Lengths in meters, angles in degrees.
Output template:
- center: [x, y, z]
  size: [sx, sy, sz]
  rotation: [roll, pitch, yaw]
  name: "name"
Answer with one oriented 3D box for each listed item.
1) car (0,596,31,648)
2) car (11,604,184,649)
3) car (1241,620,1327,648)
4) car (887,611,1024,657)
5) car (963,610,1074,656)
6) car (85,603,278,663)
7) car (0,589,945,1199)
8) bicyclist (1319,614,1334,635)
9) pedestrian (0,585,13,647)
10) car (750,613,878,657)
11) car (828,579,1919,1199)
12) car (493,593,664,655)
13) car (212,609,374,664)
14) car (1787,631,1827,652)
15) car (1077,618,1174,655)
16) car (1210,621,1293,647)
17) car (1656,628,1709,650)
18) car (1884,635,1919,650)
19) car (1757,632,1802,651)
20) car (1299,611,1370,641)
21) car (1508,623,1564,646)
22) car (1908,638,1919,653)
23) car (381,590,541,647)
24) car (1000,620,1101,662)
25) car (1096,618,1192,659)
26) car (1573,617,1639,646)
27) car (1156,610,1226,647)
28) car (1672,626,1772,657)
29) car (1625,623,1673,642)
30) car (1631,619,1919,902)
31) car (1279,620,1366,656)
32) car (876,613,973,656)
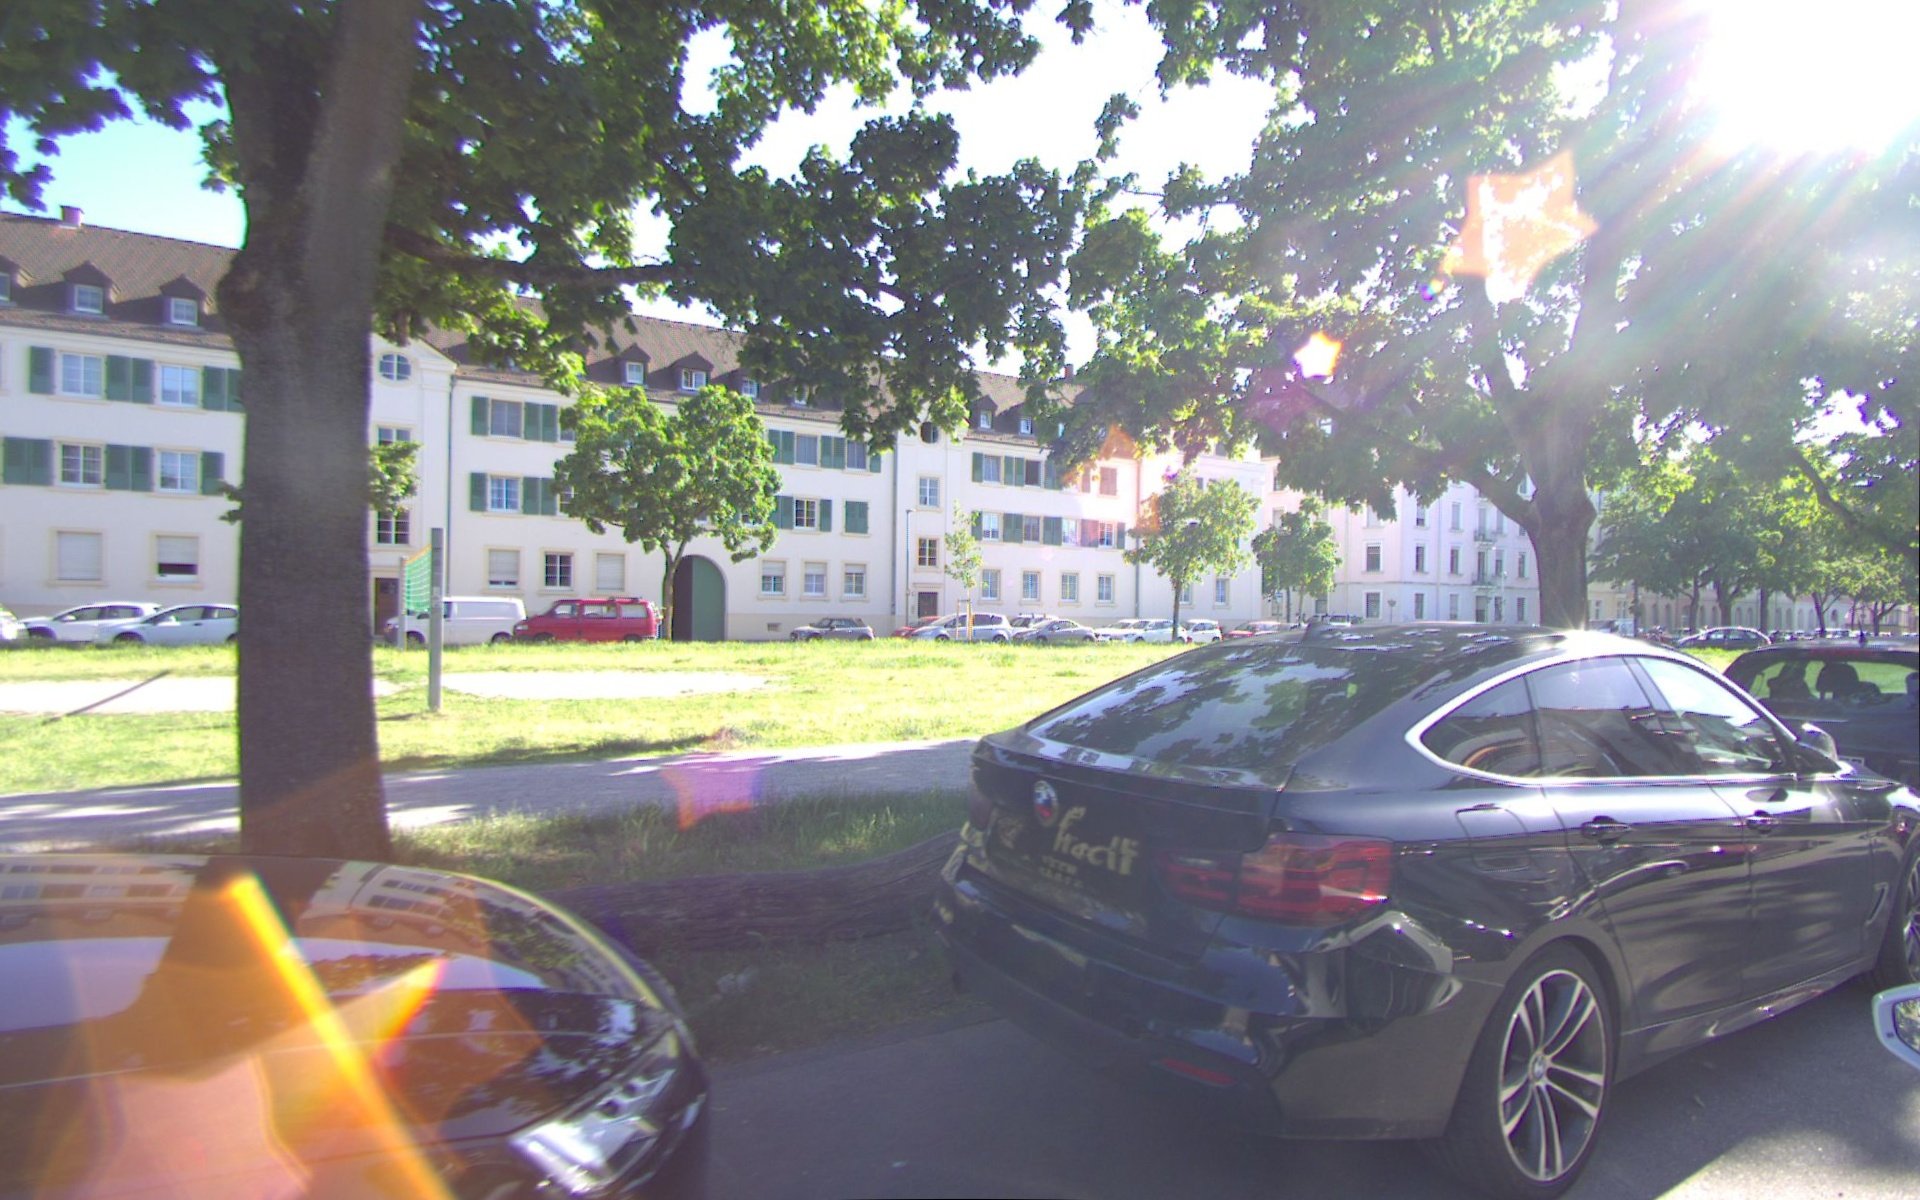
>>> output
- center: [-26.772, 0.535, 26.174]
  size: [3.475, 1.350, 1.641]
  rotation: [1, -1, -32]
  name: "car"
- center: [-27.613, 0.860, 32.335]
  size: [3.955, 1.374, 1.759]
  rotation: [1, -1, -32]
  name: "car"
- center: [18.487, 1.939, 57.231]
  size: [4.903, 1.504, 1.983]
  rotation: [2, -1, -32]
  name: "car"
- center: [-0.181, 1.448, 42.910]
  size: [5.388, 1.844, 2.439]
  rotation: [1, -1, -29]
  name: "car"
- center: [2.998, 1.689, 51.497]
  size: [5.201, 2.245, 2.516]
  rotation: [1, -1, -33]
  name: "car"
- center: [-22.344, 0.938, 29.065]
  size: [4.188, 1.604, 1.779]
  rotation: [1, -1, -32]
  name: "car"
- center: [-2.576, 0.694, 0.954]
  size: [4.915, 1.471, 1.825]
  rotation: [2, -1, -33]
  name: "car"
- center: [23.925, 1.589, 65.589]
  size: [0.777, 1.382, 0.529]
  rotation: [1, 0, -31]
  name: "bicyclist"
- center: [-31.476, 0.512, 32.383]
  size: [1.152, 1.989, 1.330]
  rotation: [1, -1, -36]
  name: "pedestrian"
- center: [-6.594, 1.573, 45.511]
  size: [5.194, 1.844, 2.439]
  rotation: [1, -1, -29]
  name: "car"
- center: [2.203, 0.806, 4.073]
  size: [5.103, 1.536, 1.982]
  rotation: [1, -2, -33]
  name: "car"
- center: [-13.218, 0.831, 34.899]
  size: [5.201, 2.011, 2.207]
  rotation: [1, -1, -33]
  name: "car"
- center: [-23.159, 1.269, 35.077]
  size: [4.595, 1.787, 1.982]
  rotation: [1, -1, -33]
  name: "car"
- center: [74.284, 3.640, 88.107]
  size: [4.038, 1.709, 1.622]
  rotation: [2, -1, -33]
  name: "car"
- center: [9.103, 1.972, 55.097]
  size: [5.100, 1.911, 2.143]
  rotation: [1, -1, -31]
  name: "car"
- center: [17.446, 2.043, 59.996]
  size: [4.903, 1.504, 1.983]
  rotation: [2, -1, -32]
  name: "car"
- center: [54.793, 2.957, 76.137]
  size: [4.648, 1.582, 1.684]
  rotation: [2, -1, -33]
  name: "car"
- center: [94.497, 4.238, 100.673]
  size: [3.730, 1.459, 1.837]
  rotation: [1, -1, -31]
  name: "car"
- center: [69.580, 3.508, 85.281]
  size: [4.480, 1.570, 1.746]
  rotation: [2, -1, -33]
  name: "car"
- center: [27.557, 1.911, 74.056]
  size: [2.118, 2.040, 4.534]
  rotation: [1, 0, -33]
  name: "car"
- center: [43.435, 2.599, 75.767]
  size: [4.407, 1.608, 1.981]
  rotation: [2, -1, -35]
  name: "car"
- center: [98.475, 4.678, 102.689]
  size: [3.197, 1.459, 1.508]
  rotation: [1, -1, -33]
  name: "car"
- center: [-18.761, 0.717, 37.839]
  size: [5.201, 2.011, 2.207]
  rotation: [1, -1, -33]
  name: "car"
- center: [4.088, 1.831, 45.504]
  size: [3.960, 1.773, 2.307]
  rotation: [1, -1, -29]
  name: "car"
- center: [8.883, 1.844, 48.435]
  size: [4.212, 1.844, 2.223]
  rotation: [1, -1, -33]
  name: "car"
- center: [45.621, 2.229, 70.929]
  size: [5.044, 1.897, 2.069]
  rotation: [2, -1, -33]
  name: "car"
- center: [13.226, 1.648, 57.480]
  size: [3.853, 2.040, 1.657]
  rotation: [2, -1, -31]
  name: "car"
- center: [41.725, 2.234, 55.126]
  size: [4.277, 1.597, 1.922]
  rotation: [0, -1, 36]
  name: "car"
- center: [50.336, 2.369, 73.384]
  size: [3.489, 1.296, 1.684]
  rotation: [2, -1, -33]
  name: "car"
- center: [6.316, 0.897, 6.467]
  size: [3.759, 1.437, 1.871]
  rotation: [2, -2, -30]
  name: "car"
- center: [19.902, 2.086, 55.098]
  size: [4.654, 1.844, 2.146]
  rotation: [1, -1, -33]
  name: "car"
- center: [-1.694, 1.652, 48.453]
  size: [4.121, 1.930, 2.251]
  rotation: [1, -1, -32]
  name: "car"
